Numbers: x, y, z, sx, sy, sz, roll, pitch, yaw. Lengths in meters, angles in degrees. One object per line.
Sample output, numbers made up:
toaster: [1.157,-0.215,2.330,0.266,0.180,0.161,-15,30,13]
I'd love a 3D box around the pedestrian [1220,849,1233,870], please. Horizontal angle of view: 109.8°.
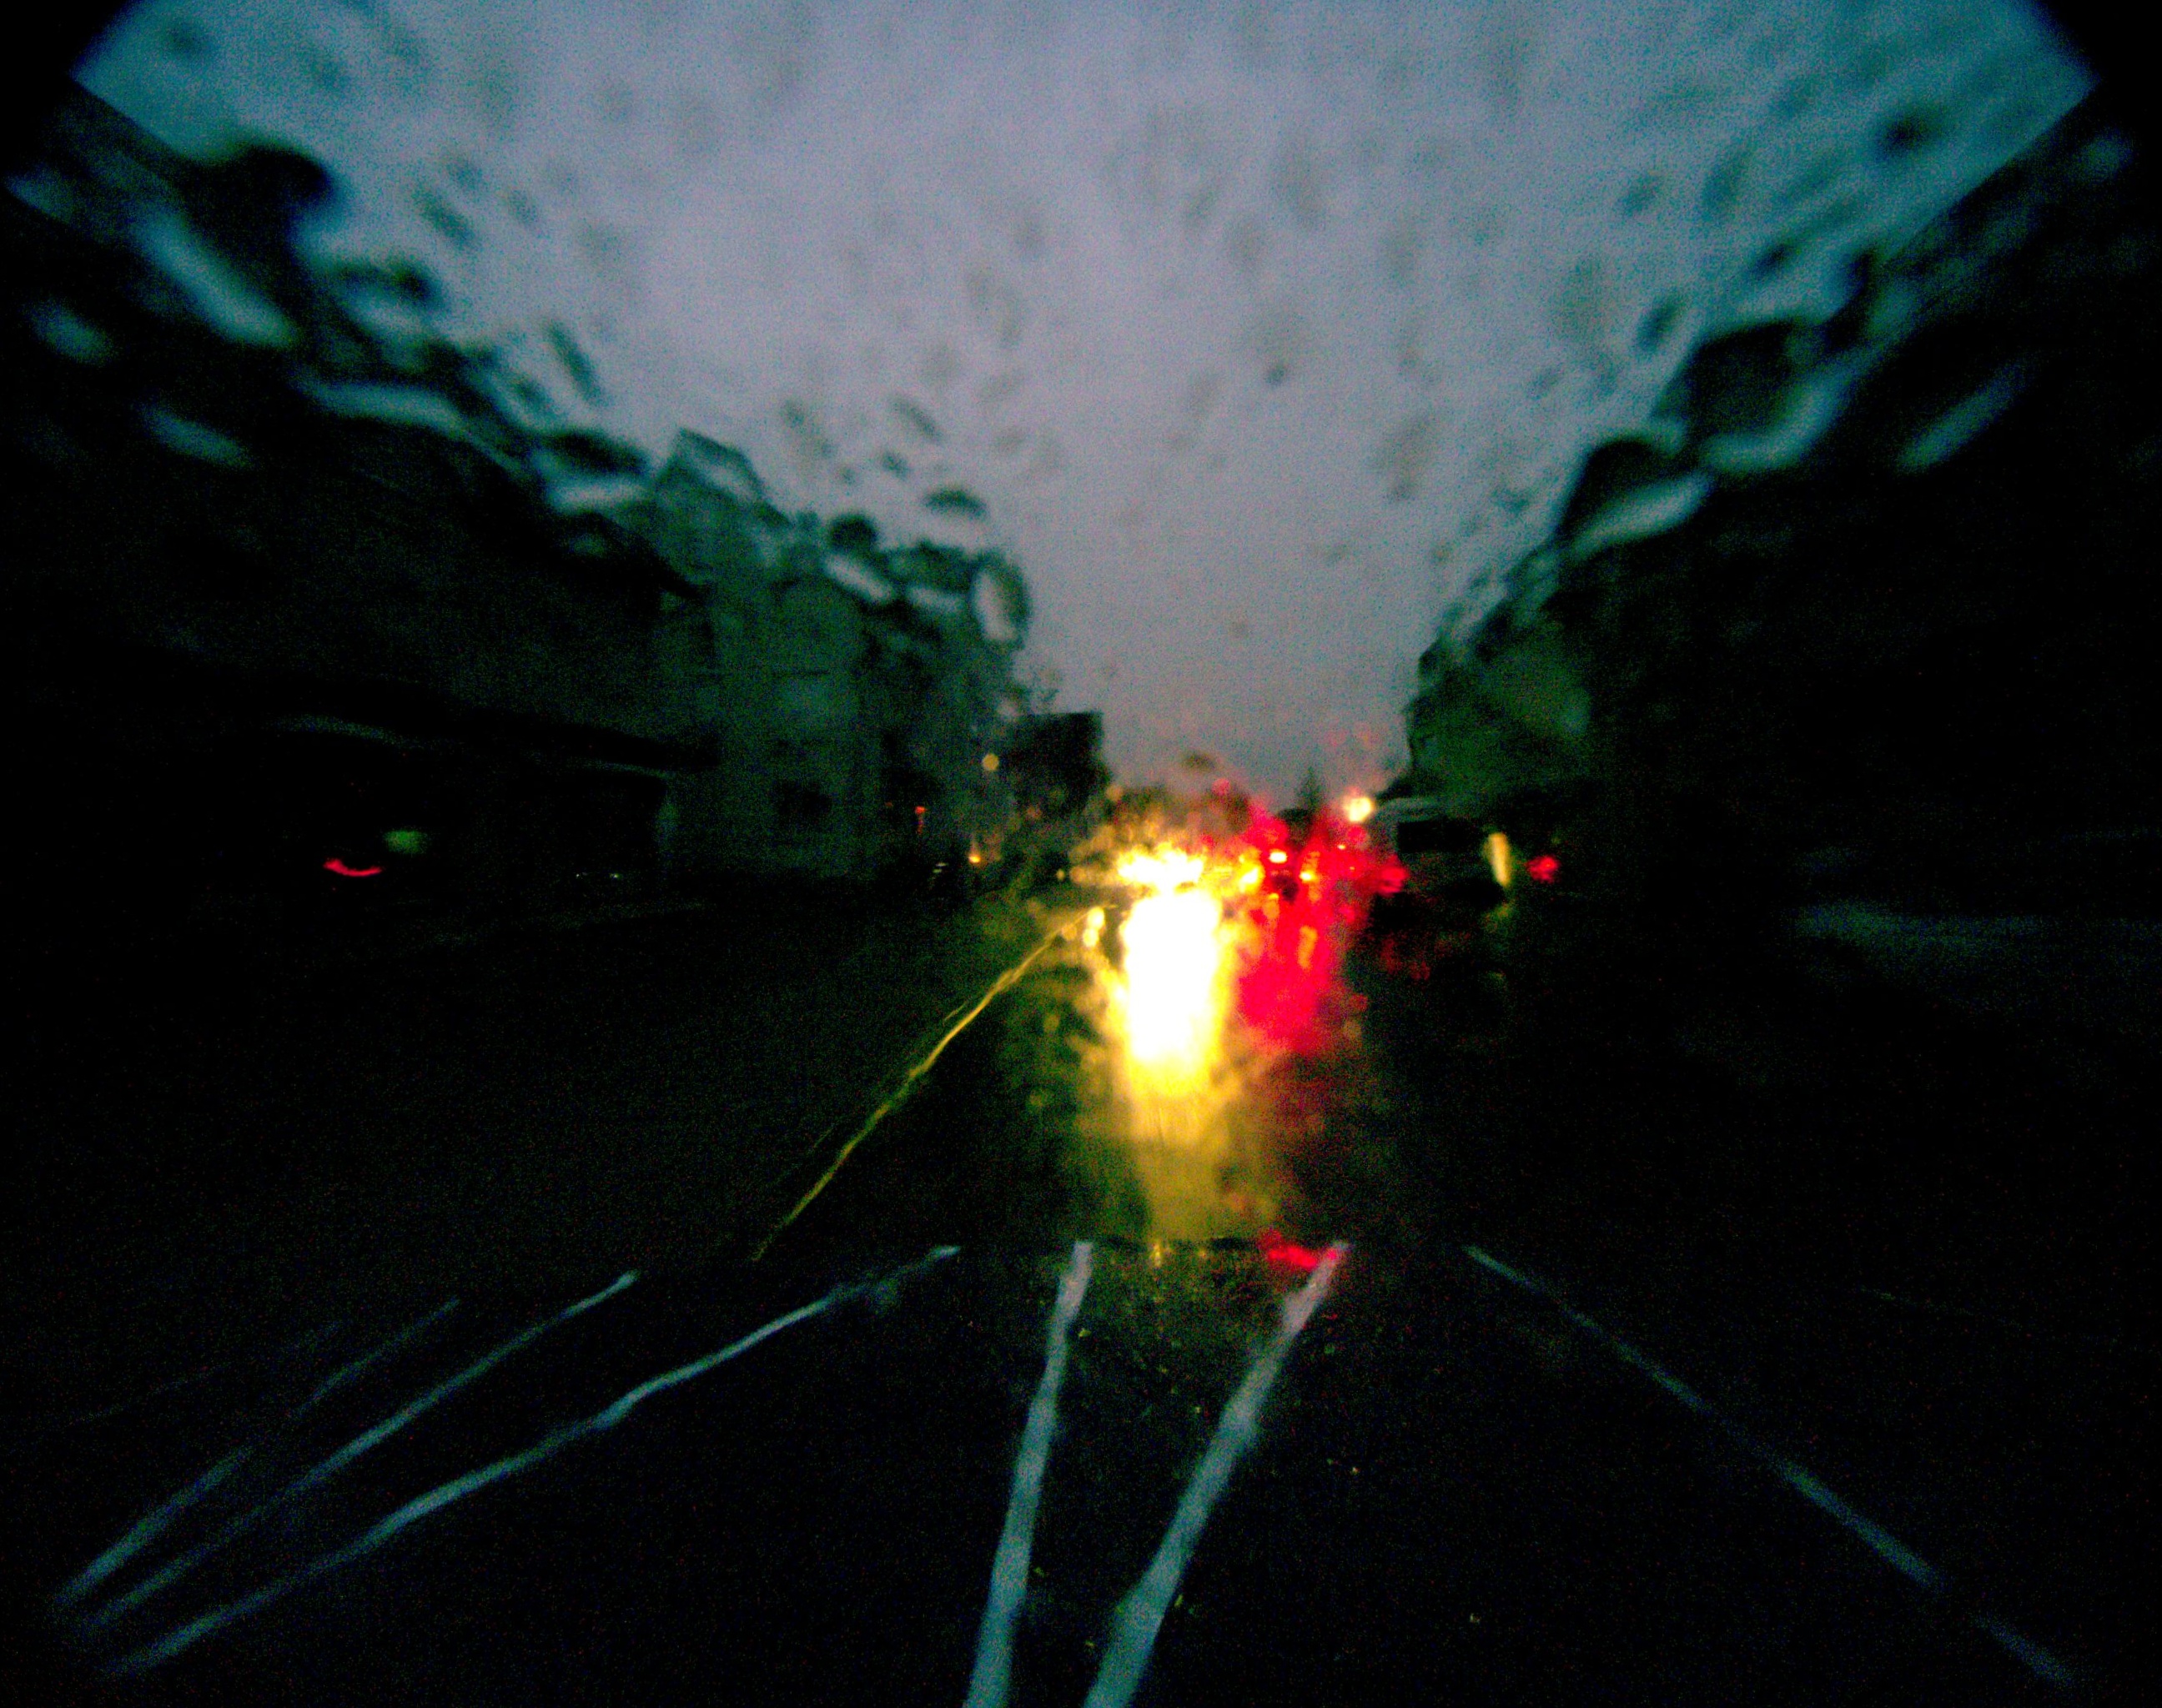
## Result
pedestrian: [13.174,0.468,68.794,0.943,1.865,1.012,-1,1,-8]

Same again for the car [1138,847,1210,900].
car: [3.488,0.664,27.957,1.996,1.720,4.004,-1,1,16]

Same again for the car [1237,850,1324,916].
car: [5.530,0.728,21.547,1.921,1.556,4.228,1,1,8]

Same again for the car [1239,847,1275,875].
car: [10.806,0.476,46.391,1.954,1.537,4.422,1,-2,15]

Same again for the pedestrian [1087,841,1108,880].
pedestrian: [0.724,0.286,33.681,0.746,1.719,0.874,0,0,15]

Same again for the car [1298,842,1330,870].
car: [15.541,0.113,50.584,1.883,1.700,4.717,-1,1,17]

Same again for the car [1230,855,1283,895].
car: [7.445,0.832,31.922,1.996,1.546,4.262,1,0,15]

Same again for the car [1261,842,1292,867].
car: [14.337,0.041,55.613,1.996,1.695,4.973,-2,-1,16]

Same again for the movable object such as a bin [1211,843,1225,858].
movable object such as a bin: [15.544,-0.437,86.097,1.394,1.635,1.263,2,2,15]

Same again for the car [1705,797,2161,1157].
car: [6.530,0.587,4.336,1.997,1.833,5.305,-2,1,6]

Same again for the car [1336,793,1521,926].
car: [7.905,0.040,18.225,2.490,2.545,6.765,-2,1,11]

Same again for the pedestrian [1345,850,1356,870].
pedestrian: [23.058,0.483,65.039,0.827,1.649,1.098,-2,1,16]

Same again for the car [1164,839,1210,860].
car: [10.653,-0.485,76.558,4.093,2.038,2.003,2,2,26]

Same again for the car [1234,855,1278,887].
car: [9.063,0.827,39.157,1.859,1.546,4.263,1,0,17]

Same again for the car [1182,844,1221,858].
car: [13.381,-0.327,84.163,3.990,1.478,1.915,1,2,21]

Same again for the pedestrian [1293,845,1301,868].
pedestrian: [14.856,0.184,52.189,0.529,1.576,0.577,0,0,16]

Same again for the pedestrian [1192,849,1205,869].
pedestrian: [10.333,0.439,66.792,0.836,1.695,0.847,2,2,29]
